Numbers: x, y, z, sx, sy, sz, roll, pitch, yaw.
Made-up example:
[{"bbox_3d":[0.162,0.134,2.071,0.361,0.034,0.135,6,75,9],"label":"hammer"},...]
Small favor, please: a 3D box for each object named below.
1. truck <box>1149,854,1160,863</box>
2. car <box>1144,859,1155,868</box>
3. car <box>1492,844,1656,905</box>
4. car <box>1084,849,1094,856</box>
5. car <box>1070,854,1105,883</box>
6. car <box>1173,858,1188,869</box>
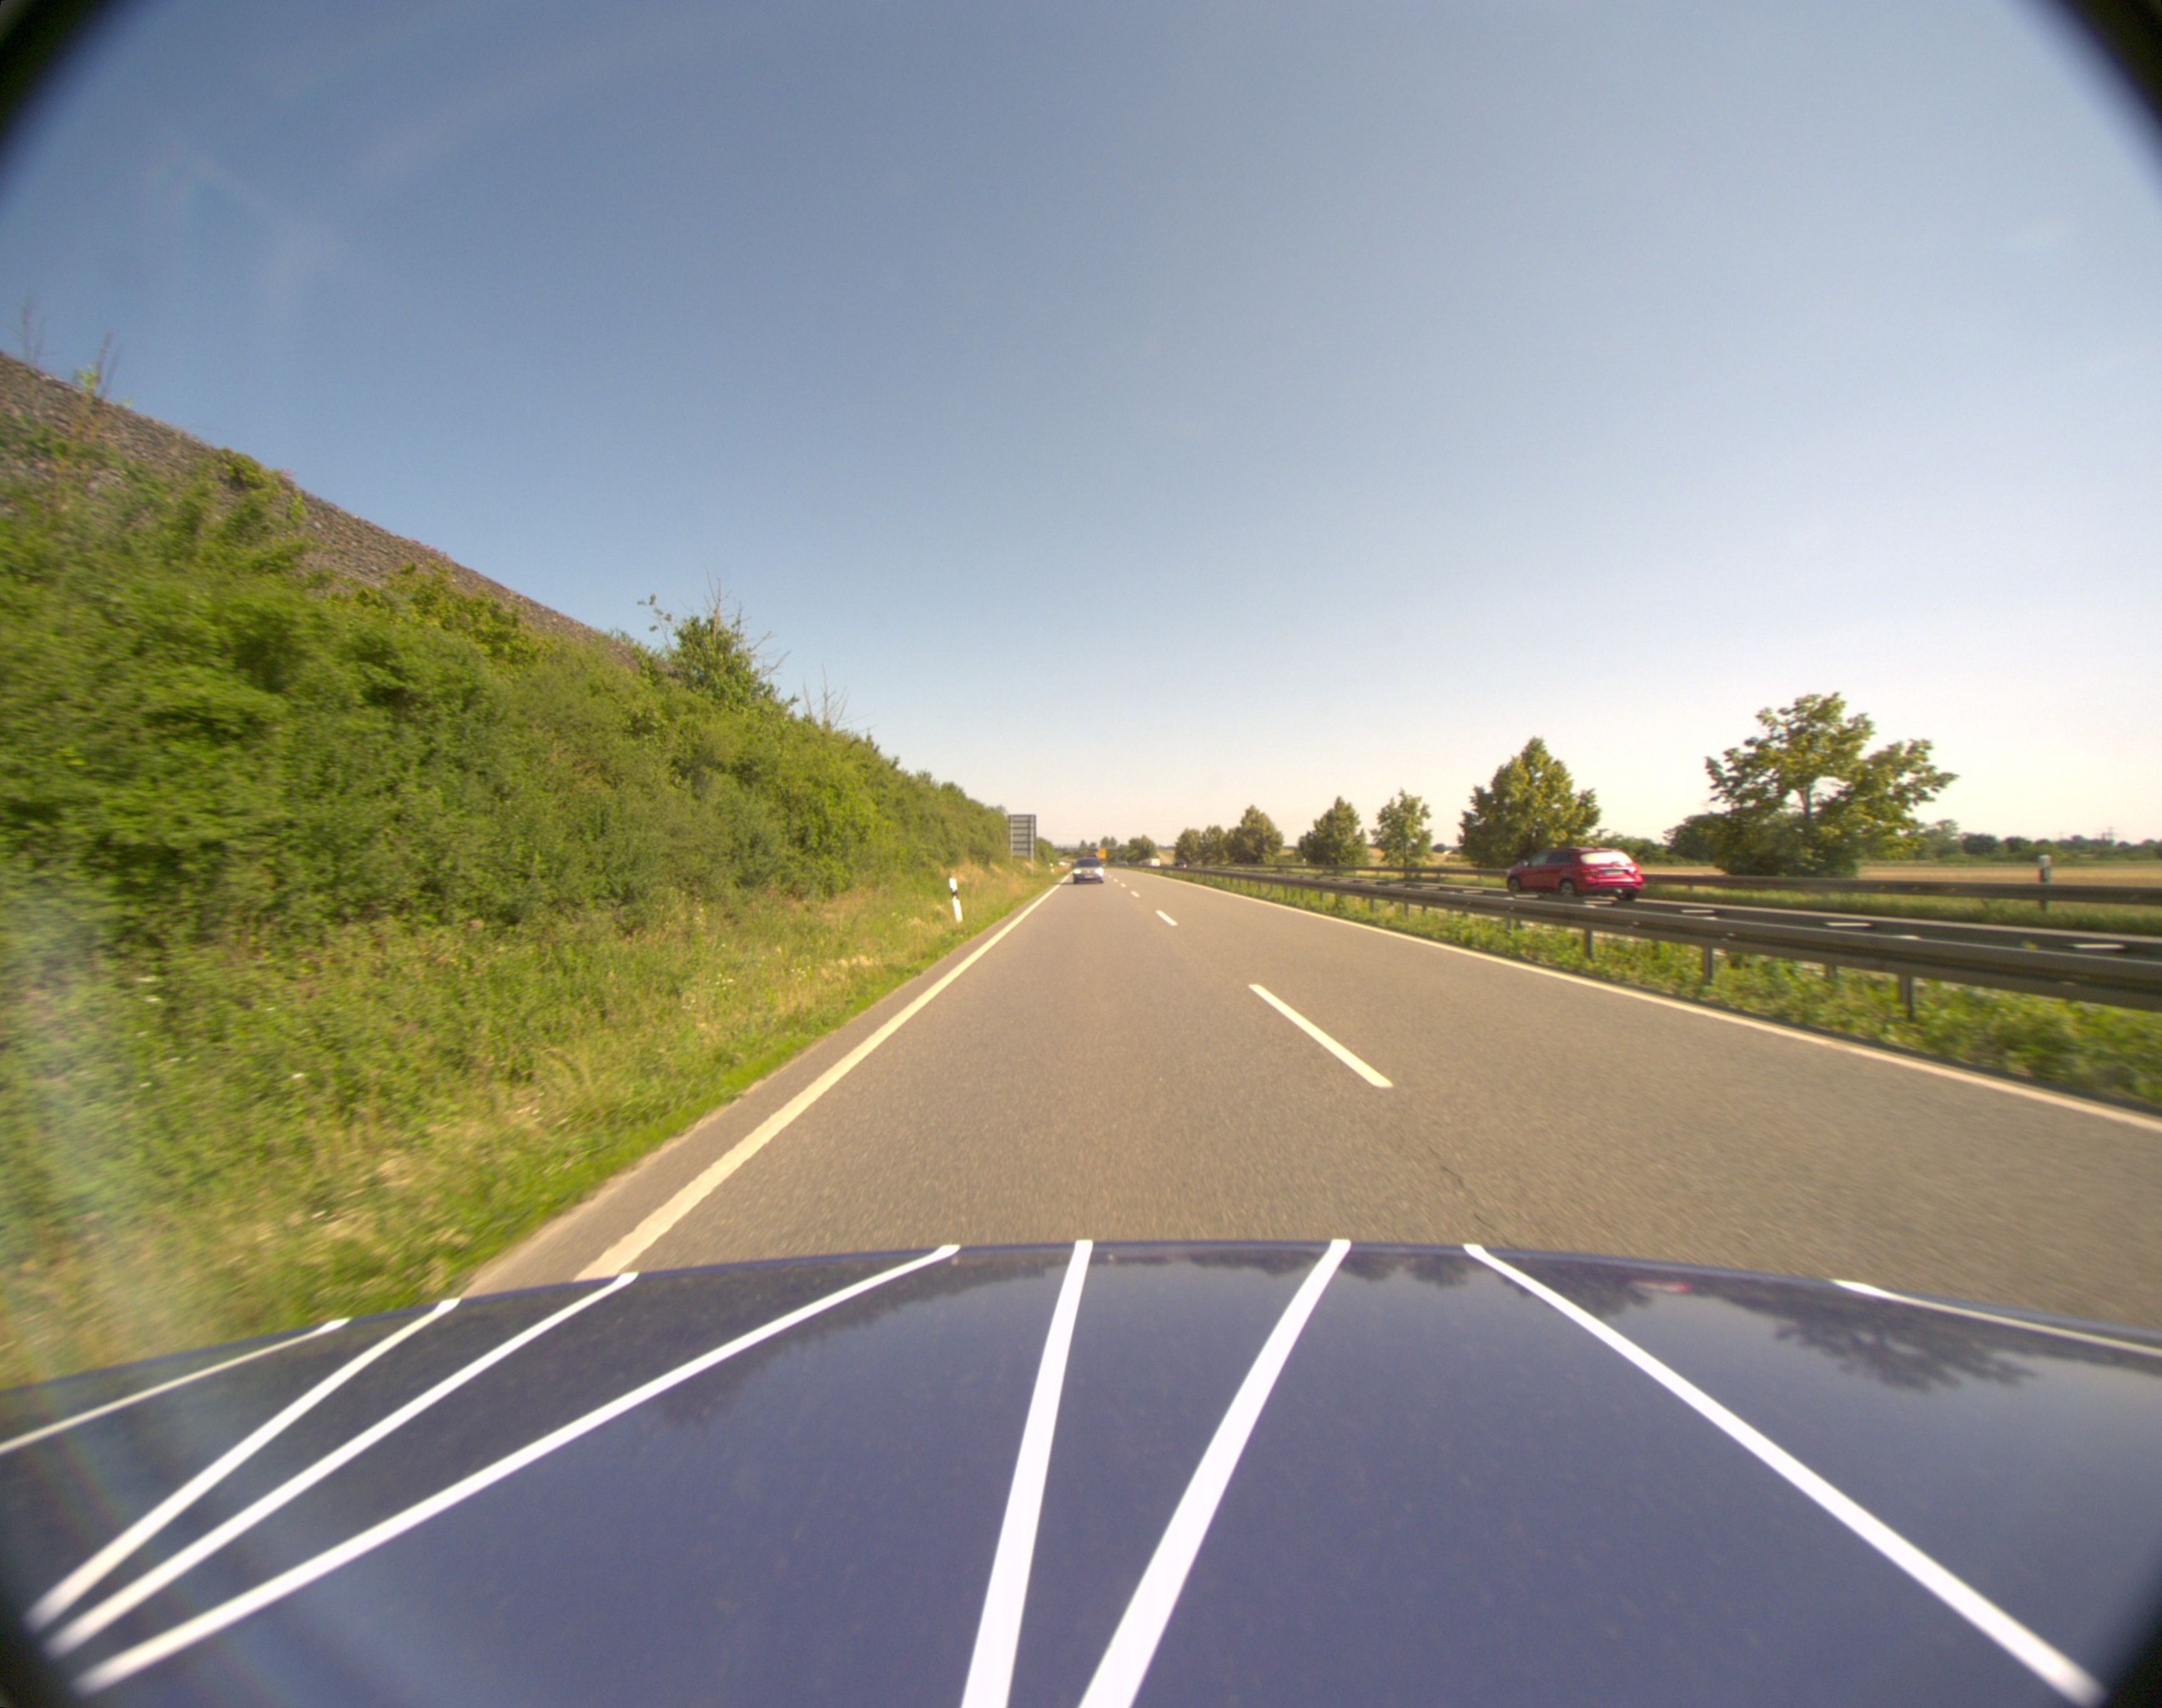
[{"bbox_3d":[15.232,1.006,157.735,1.927,1.829,5.293,-1,-1,0],"label":"truck"},{"bbox_3d":[12.703,1.703,140.926,1.817,1.533,4.454,0,0,2],"label":"car"},{"bbox_3d":[14.485,0.553,22.720,1.848,1.584,4.773,-2,0,1],"label":"car"},{"bbox_3d":[1.457,-0.298,137.631,1.790,1.212,4.000,-1,1,2],"label":"car"},{"bbox_3d":[0.448,0.841,46.051,1.854,1.634,4.001,-1,0,4],"label":"car"},{"bbox_3d":[15.066,1.387,114.949,1.817,1.533,4.454,0,0,2],"label":"car"}]
